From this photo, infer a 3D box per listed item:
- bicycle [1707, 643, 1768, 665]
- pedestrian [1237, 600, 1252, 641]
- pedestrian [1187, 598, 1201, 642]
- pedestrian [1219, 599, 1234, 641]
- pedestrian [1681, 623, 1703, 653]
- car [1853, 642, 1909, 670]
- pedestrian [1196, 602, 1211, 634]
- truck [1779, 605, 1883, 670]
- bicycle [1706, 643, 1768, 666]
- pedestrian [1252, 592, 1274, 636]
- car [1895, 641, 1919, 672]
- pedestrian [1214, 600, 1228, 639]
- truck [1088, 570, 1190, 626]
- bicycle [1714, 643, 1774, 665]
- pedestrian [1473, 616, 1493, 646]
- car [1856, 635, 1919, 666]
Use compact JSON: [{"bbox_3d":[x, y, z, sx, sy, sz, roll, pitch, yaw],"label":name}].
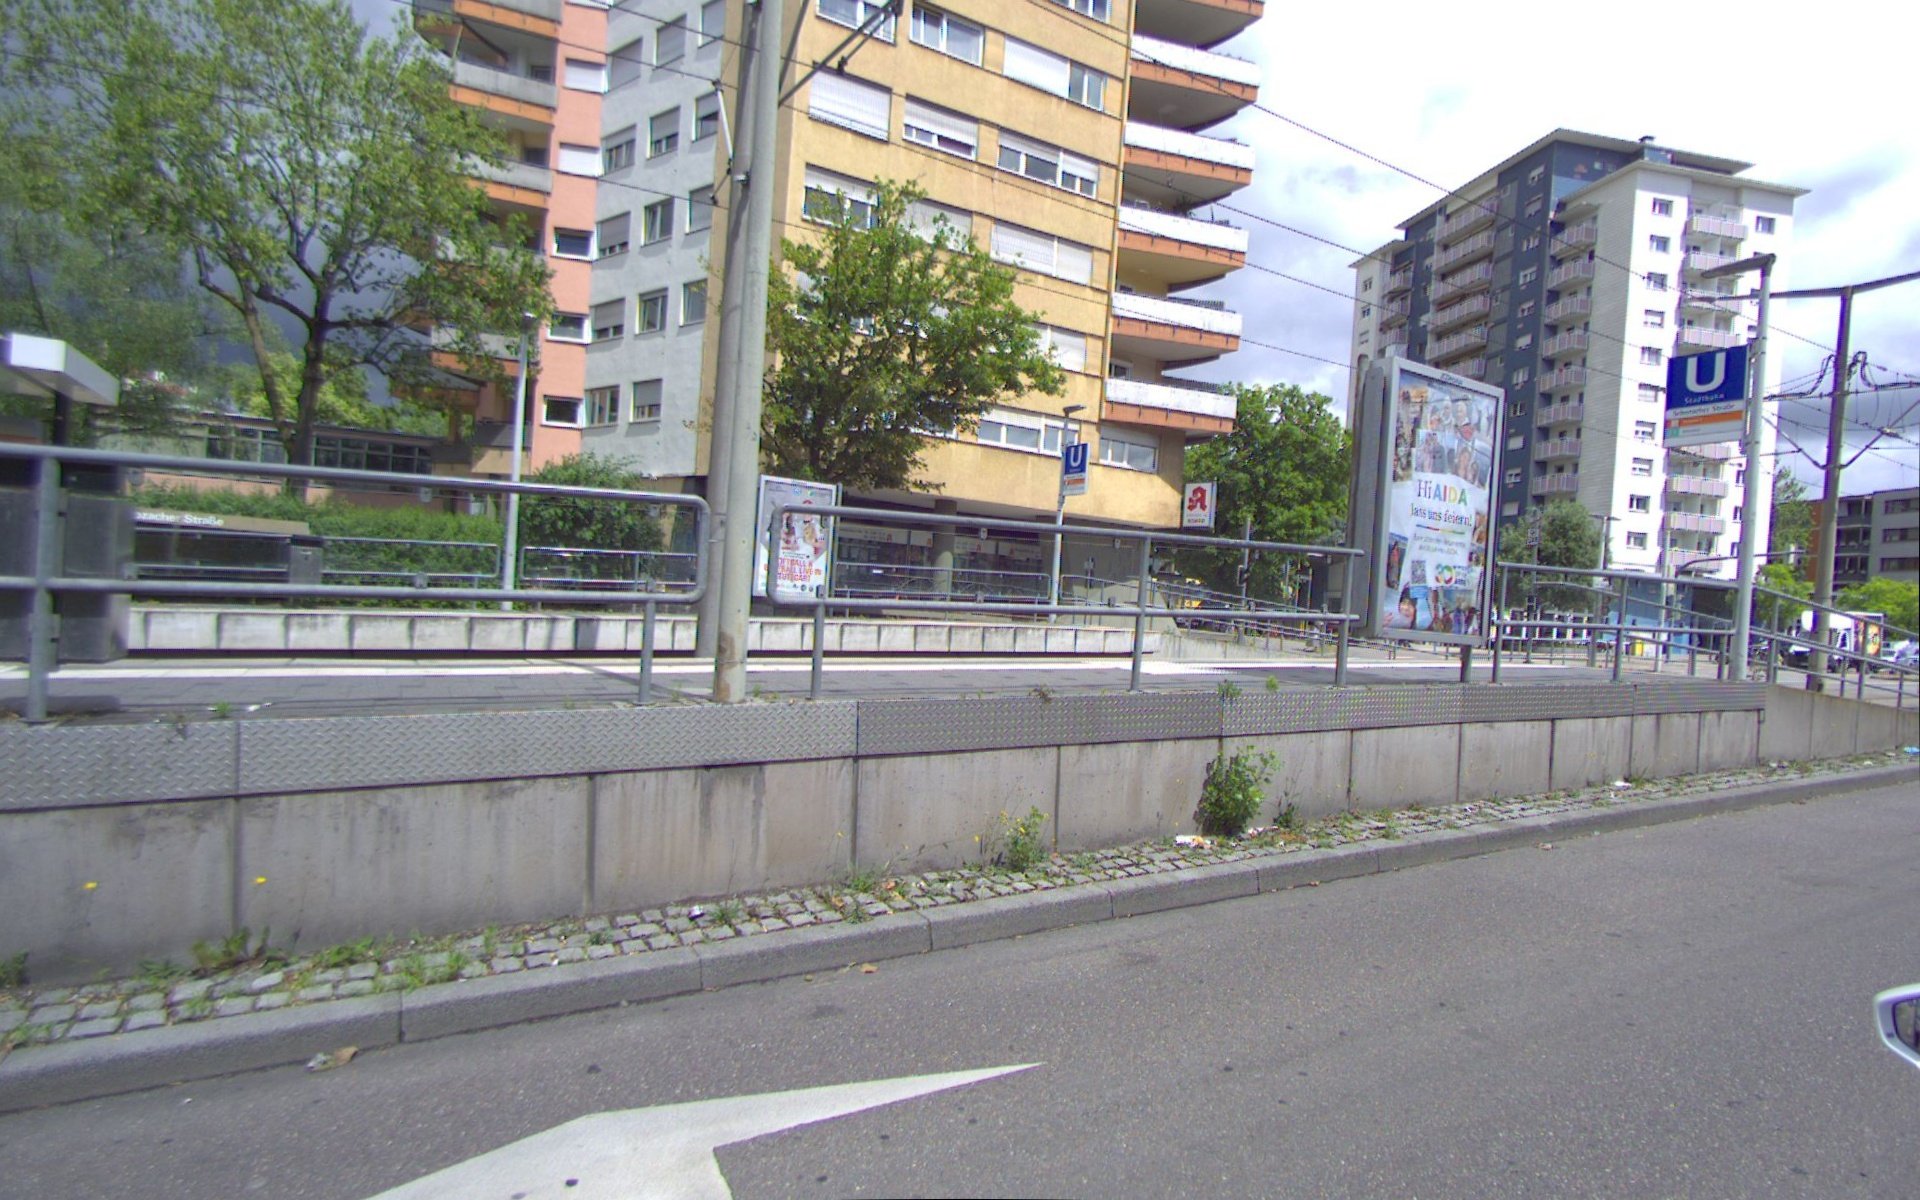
[{"bbox_3d":[42.556,2.955,54.986,2.521,1.022,0.754,4,0,33],"label":"bicycle"},{"bbox_3d":[14.410,1.050,50.831,0.531,2.040,0.561,2,0,32],"label":"pedestrian"},{"bbox_3d":[11.019,0.931,47.311,0.529,2.040,0.562,2,0,3],"label":"pedestrian"},{"bbox_3d":[13.214,0.974,49.729,0.531,2.040,0.560,1,0,34],"label":"pedestrian"},{"bbox_3d":[51.296,2.663,70.368,0.832,2.040,0.860,2,0,-12],"label":"pedestrian"},{"bbox_3d":[52.281,3.172,57.004,3.733,1.480,1.399,2,0,-32],"label":"car"},{"bbox_3d":[11.233,0.838,46.291,0.539,1.459,0.499,1,-3,-7],"label":"pedestrian"},{"bbox_3d":[45.652,1.992,52.566,7.244,3.159,2.267,2,0,-34],"label":"truck"},{"bbox_3d":[41.931,2.928,54.243,2.521,1.022,0.754,4,0,33],"label":"bicycle"},{"bbox_3d":[12.504,0.573,41.407,0.649,1.799,0.658,2,0,-1],"label":"pedestrian"},{"bbox_3d":[58.081,3.444,60.481,3.732,1.780,1.583,2,0,-31],"label":"car"},{"bbox_3d":[13.707,1.038,52.755,0.531,2.040,0.560,2,0,36],"label":"pedestrian"},{"bbox_3d":[7.983,-0.113,45.242,2.323,2.320,4.260,2,0,-29],"label":"truck"},{"bbox_3d":[43.416,2.985,55.679,2.521,1.022,0.754,4,0,33],"label":"bicycle"},{"bbox_3d":[35.964,2.115,69.058,0.831,2.040,0.861,2,0,-2],"label":"pedestrian"},{"bbox_3d":[64.380,3.472,68.943,3.846,2.001,1.657,2,0,18],"label":"car"}]
